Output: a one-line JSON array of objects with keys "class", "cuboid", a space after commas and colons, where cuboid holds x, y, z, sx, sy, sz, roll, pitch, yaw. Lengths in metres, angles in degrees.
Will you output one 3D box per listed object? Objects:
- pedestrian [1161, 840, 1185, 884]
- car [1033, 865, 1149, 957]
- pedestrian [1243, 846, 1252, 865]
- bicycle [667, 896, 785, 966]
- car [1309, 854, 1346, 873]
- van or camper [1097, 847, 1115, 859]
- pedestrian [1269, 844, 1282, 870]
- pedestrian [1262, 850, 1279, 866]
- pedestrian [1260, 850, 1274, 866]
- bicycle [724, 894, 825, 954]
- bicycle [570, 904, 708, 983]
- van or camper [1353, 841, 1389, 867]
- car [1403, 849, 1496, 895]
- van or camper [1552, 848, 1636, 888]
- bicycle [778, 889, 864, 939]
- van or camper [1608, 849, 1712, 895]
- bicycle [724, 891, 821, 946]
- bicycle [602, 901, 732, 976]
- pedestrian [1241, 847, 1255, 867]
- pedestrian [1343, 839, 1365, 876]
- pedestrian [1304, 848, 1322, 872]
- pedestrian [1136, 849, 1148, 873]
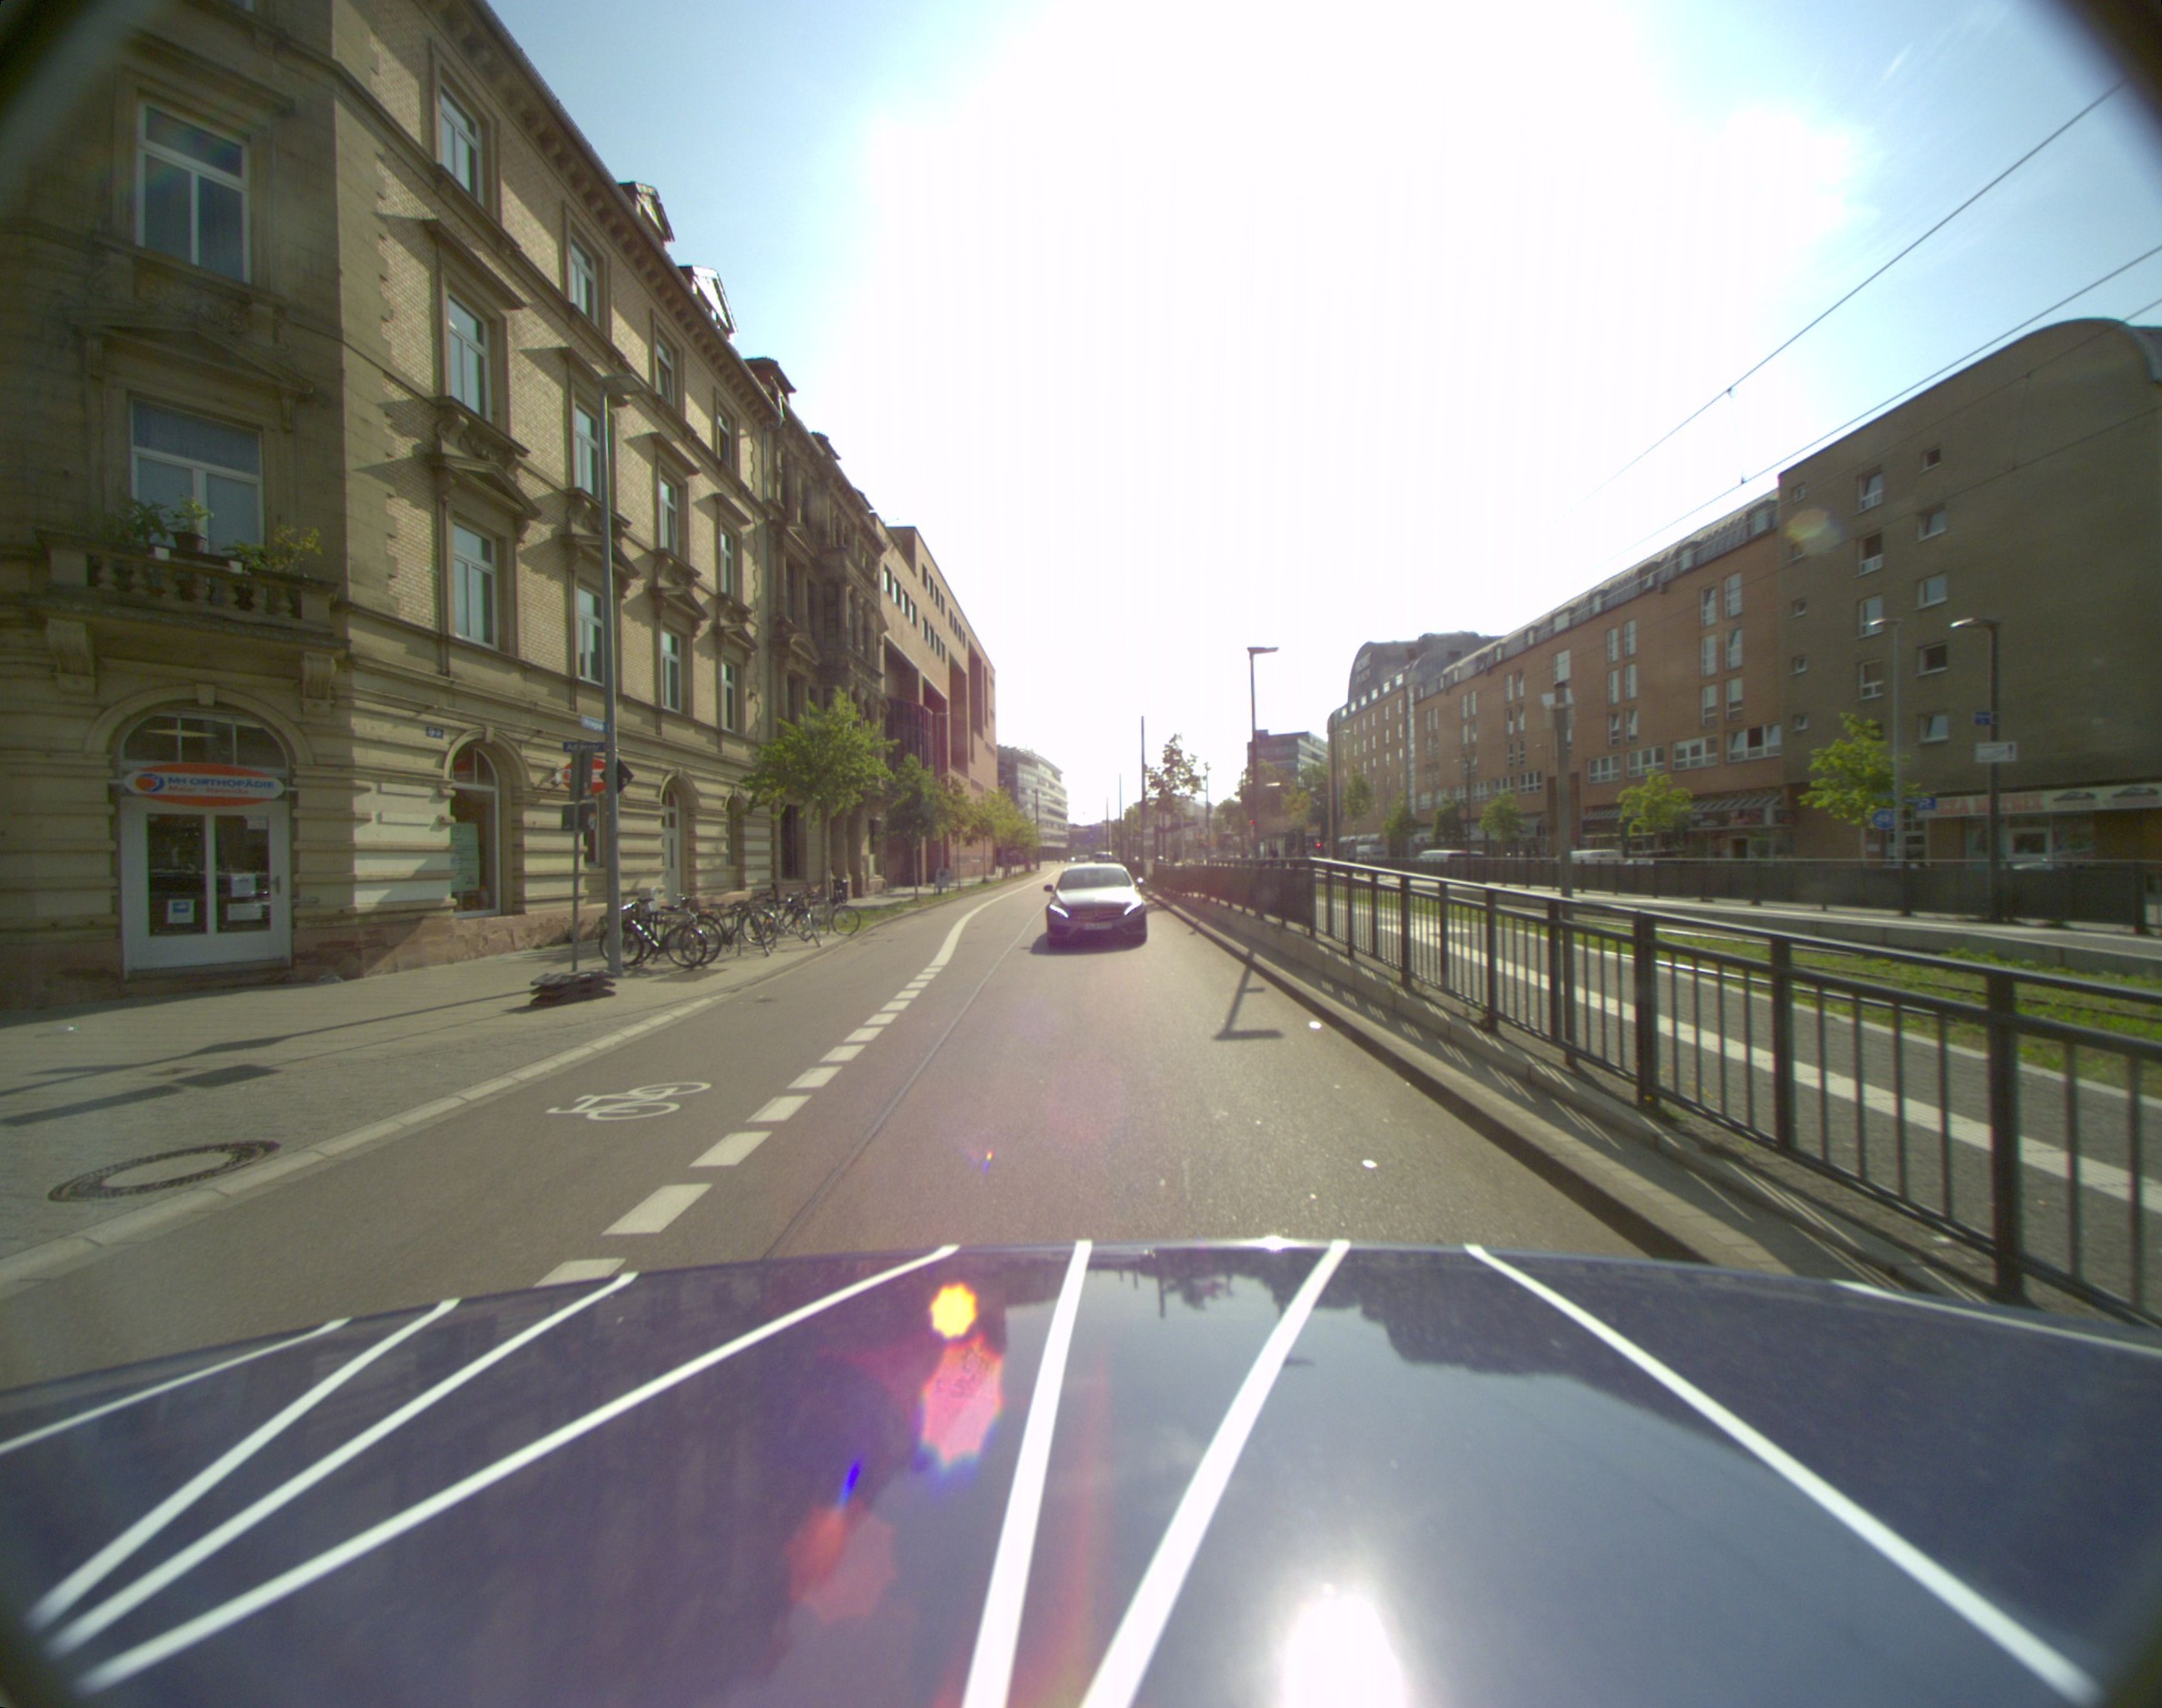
[{"class": "pedestrian", "cuboid": [4.307, 0.376, 35.648, 0.835, 2.002, 1.028, -4, 1, -2]}, {"class": "car", "cuboid": [0.198, 0.986, 14.914, 1.907, 1.384, 4.236, -2, 0, 1]}, {"class": "pedestrian", "cuboid": [15.887, 0.109, 72.398, 0.652, 1.750, 0.698, -4, 1, 2]}, {"class": "bicycle", "cuboid": [-6.194, 1.327, 13.293, 1.758, 1.081, 0.669, 2, 0, 6]}, {"class": "car", "cuboid": [24.074, 0.893, 74.360, 1.999, 1.795, 4.631, -1, 0, -1]}, {"class": "van or camper", "cuboid": [4.684, -0.115, 142.887, 1.937, 2.198, 3.979, -1, 0, -21]}, {"class": "pedestrian", "cuboid": [14.493, 0.205, 56.634, 0.807, 1.875, 0.554, -1, 1, -4]}, {"class": "pedestrian", "cuboid": [14.889, 0.334, 59.659, 1.156, 1.238, 0.675, 0, 0, 0]}, {"class": "pedestrian", "cuboid": [15.228, 0.349, 62.262, 0.871, 1.306, 0.808, -1, 0, -2]}, {"class": "bicycle", "cuboid": [-5.956, 1.361, 14.836, 1.763, 1.081, 0.671, 2, 0, -22]}, {"class": "bicycle", "cuboid": [-6.632, 1.336, 11.438, 1.756, 1.081, 0.583, 1, 0, 4]}, {"class": "van or camper", "cuboid": [32.082, -0.001, 84.147, 1.998, 2.786, 5.353, -1, 0, 1]}, {"class": "car", "cuboid": [17.291, 0.791, 35.938, 1.998, 2.002, 4.931, -1, 0, 0]}, {"class": "van or camper", "cuboid": [26.962, 0.691, 40.115, 1.997, 2.002, 4.002, -1, 0, 6]}, {"class": "bicycle", "cuboid": [-5.975, 1.380, 17.536, 1.761, 1.081, 0.610, 2, 1, -8]}, {"class": "van or camper", "cuboid": [26.332, 0.776, 34.738, 1.934, 1.956, 4.001, -1, 0, 5]}, {"class": "bicycle", "cuboid": [-6.464, 1.350, 15.978, 1.761, 1.081, 0.657, 2, 0, -8]}, {"class": "bicycle", "cuboid": [-6.540, 1.324, 12.037, 1.756, 1.081, 0.583, 1, 0, 4]}, {"class": "pedestrian", "cuboid": [14.686, 0.255, 66.797, 0.786, 1.736, 0.833, 0, 1, -35]}, {"class": "pedestrian", "cuboid": [13.807, 0.179, 38.455, 0.741, 1.861, 0.939, -1, 1, 1]}, {"class": "pedestrian", "cuboid": [14.726, 0.364, 48.193, 0.679, 1.522, 0.810, -2, 1, -30]}, {"class": "pedestrian", "cuboid": [4.396, 0.504, 54.945, 0.675, 1.747, 0.727, -4, 1, 0]}]
